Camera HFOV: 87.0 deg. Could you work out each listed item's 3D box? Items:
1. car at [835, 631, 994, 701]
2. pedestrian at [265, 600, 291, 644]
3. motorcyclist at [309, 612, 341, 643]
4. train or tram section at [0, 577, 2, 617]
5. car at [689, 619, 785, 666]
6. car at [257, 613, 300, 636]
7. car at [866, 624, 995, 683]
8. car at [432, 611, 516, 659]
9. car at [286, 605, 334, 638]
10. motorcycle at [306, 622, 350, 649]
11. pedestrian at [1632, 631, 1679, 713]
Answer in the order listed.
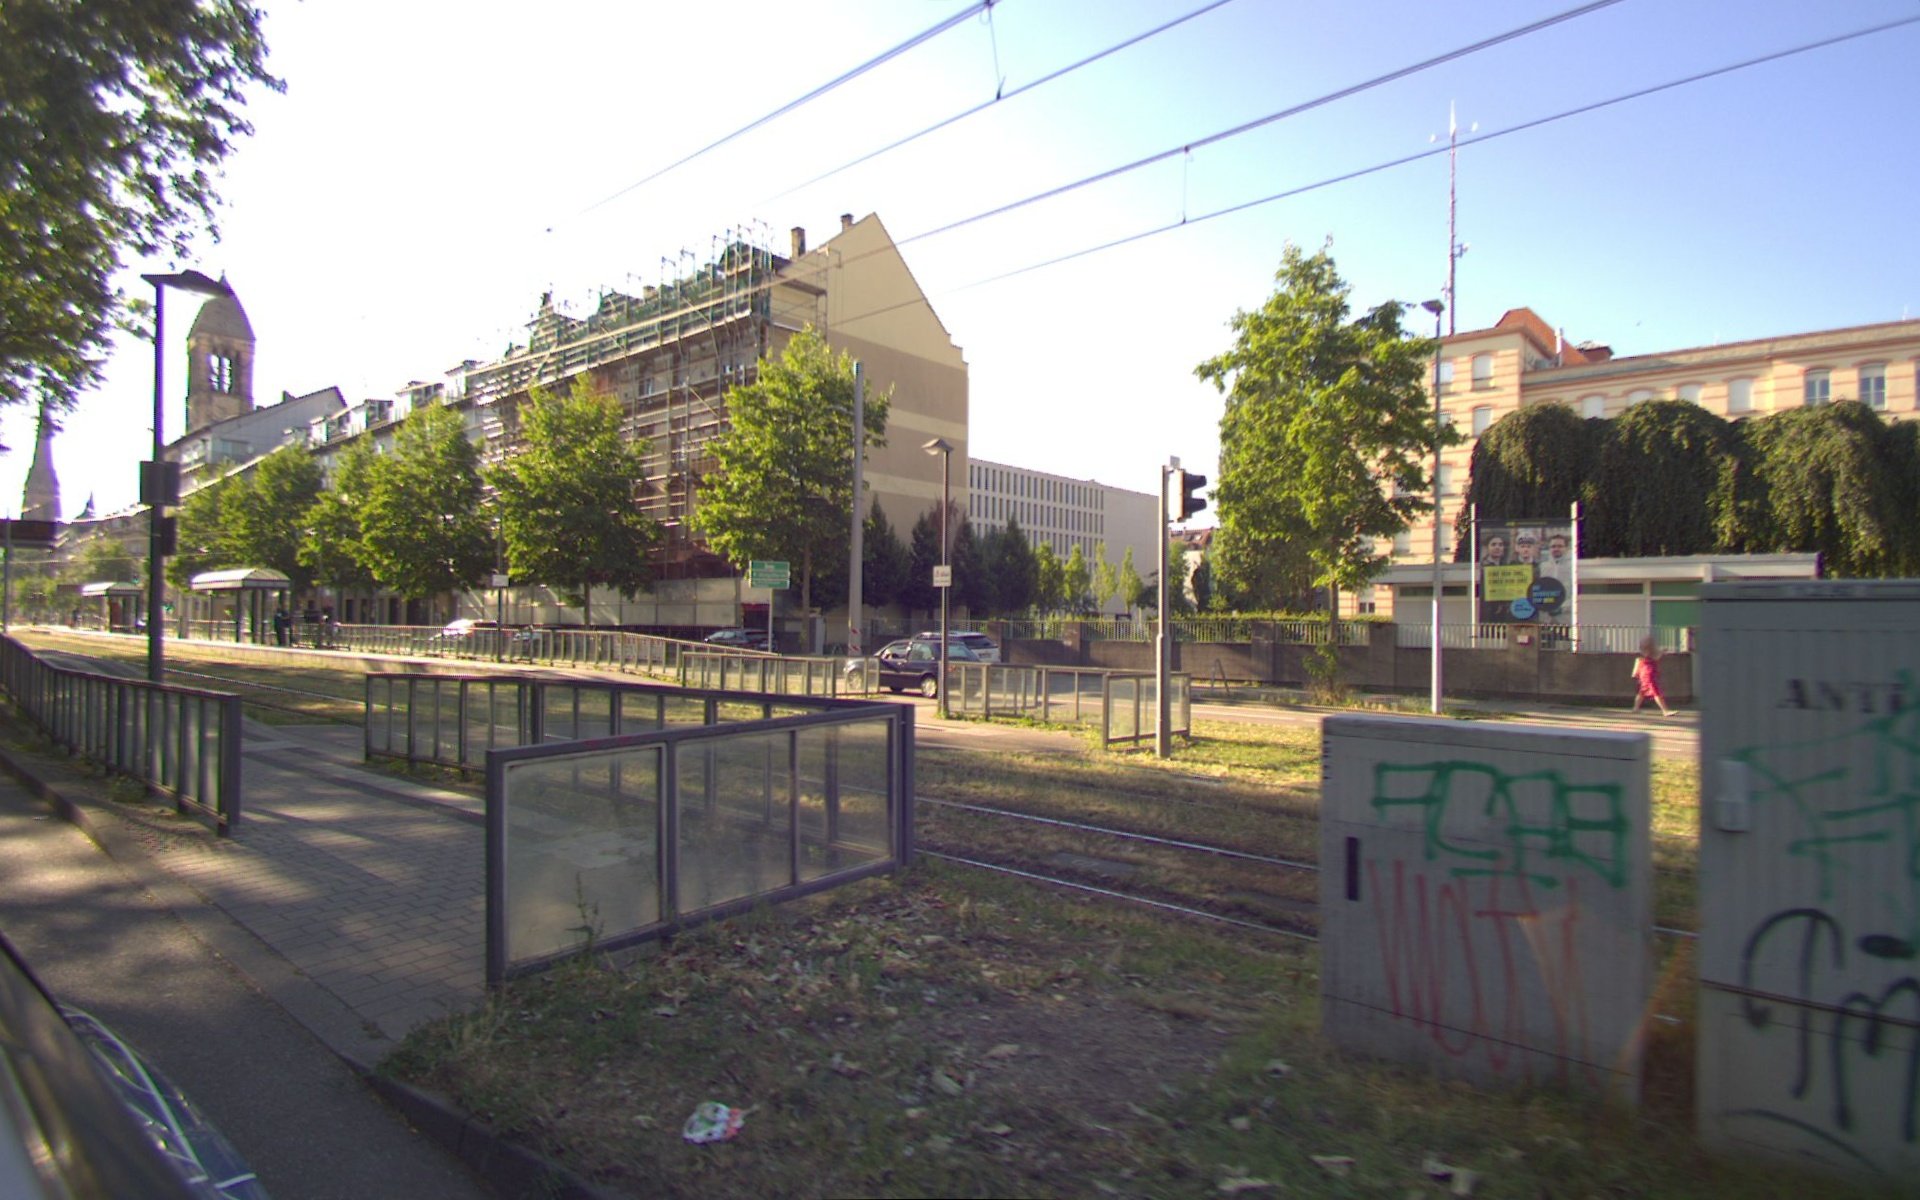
[{"bbox_3d":[-1.152,1.532,24.469,3.850,1.418,1.589,0,1,42],"label":"car"},{"bbox_3d":[-27.354,0.870,40.596,0.654,1.703,0.672,0,0,39],"label":"pedestrian"},{"bbox_3d":[-27.707,1.182,44.158,1.274,1.309,0.810,0,1,37],"label":"motorcyclist"},{"bbox_3d":[-96.550,-0.315,99.061,14.556,3.713,2.839,0,-1,42],"label":"train or tram section"},{"bbox_3d":[-8.593,1.583,38.783,1.701,1.598,4.068,-1,1,-44],"label":"car"},{"bbox_3d":[-51.768,1.820,76.854,3.783,1.648,1.787,0,1,41],"label":"car"},{"bbox_3d":[-0.957,1.600,31.377,1.701,1.598,4.068,-1,1,-44],"label":"car"},{"bbox_3d":[-20.281,1.403,42.188,4.028,1.819,1.843,0,1,43],"label":"car"},{"bbox_3d":[-46.085,1.505,71.735,3.783,2.182,1.920,0,1,41],"label":"car"},{"bbox_3d":[-27.486,1.546,43.984,2.398,1.081,0.810,0,1,37],"label":"motorcycle"},{"bbox_3d":[14.670,1.506,21.346,0.811,1.660,0.718,0,-2,35],"label":"pedestrian"}]
